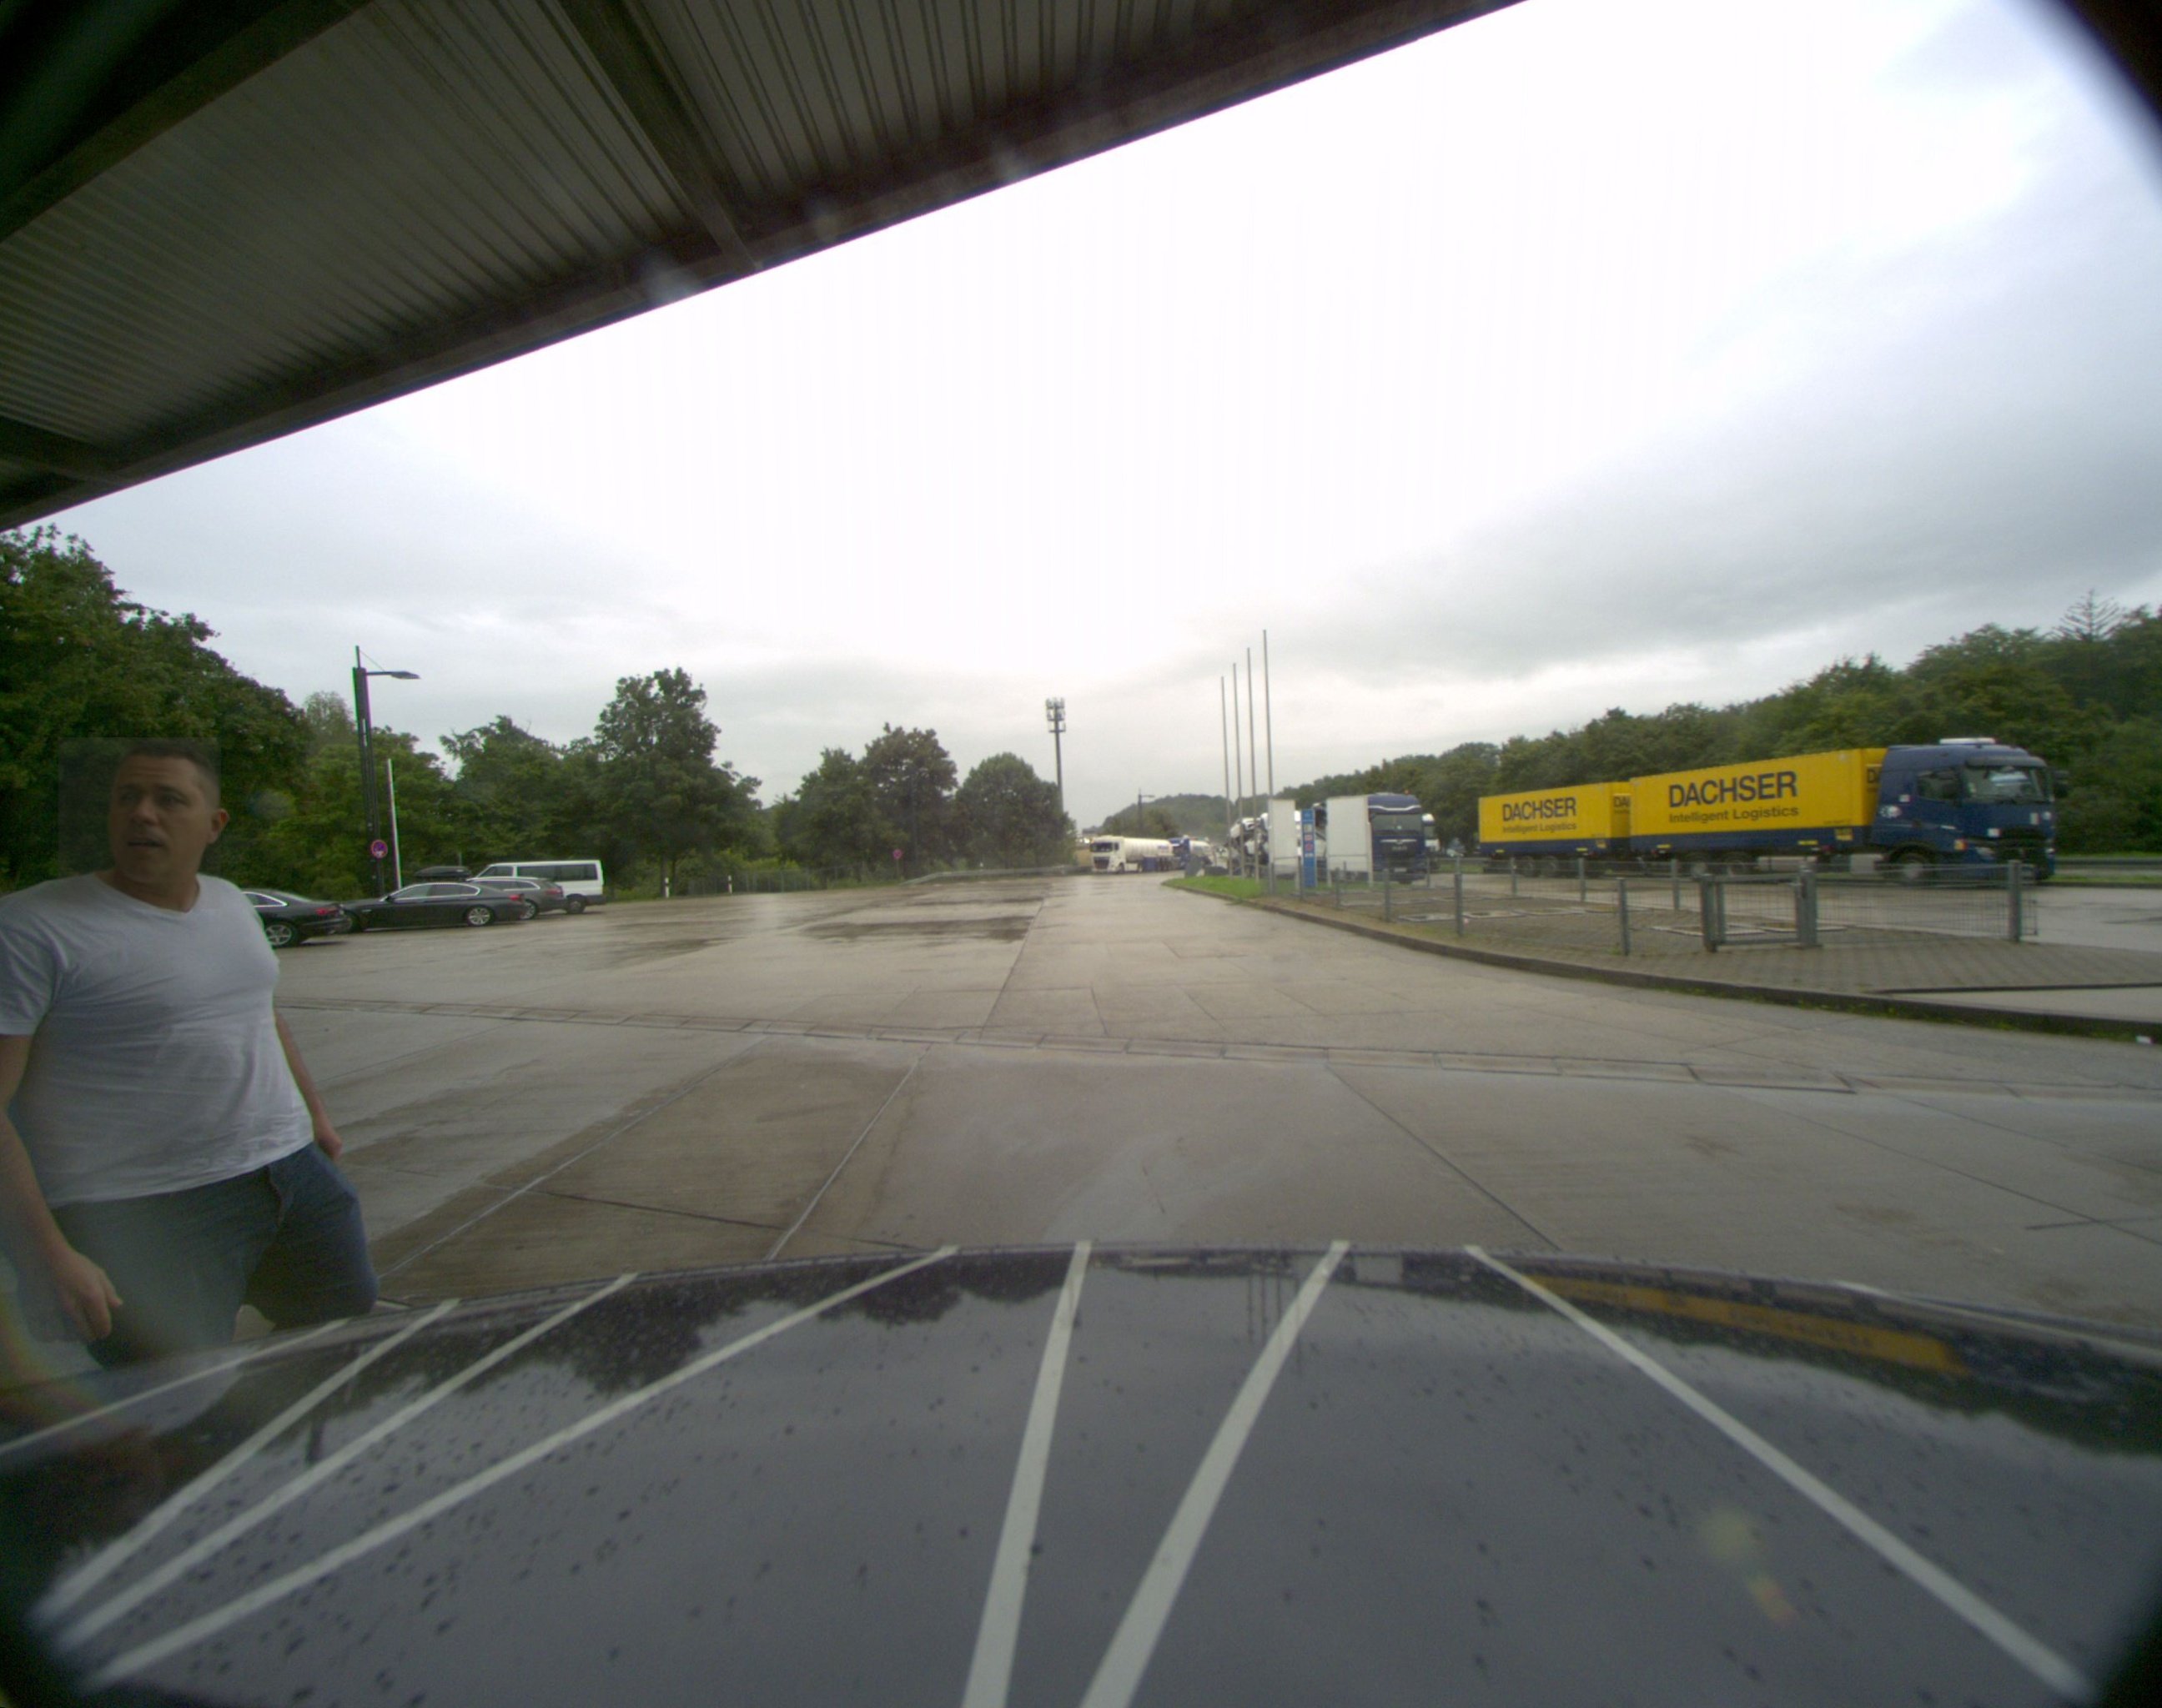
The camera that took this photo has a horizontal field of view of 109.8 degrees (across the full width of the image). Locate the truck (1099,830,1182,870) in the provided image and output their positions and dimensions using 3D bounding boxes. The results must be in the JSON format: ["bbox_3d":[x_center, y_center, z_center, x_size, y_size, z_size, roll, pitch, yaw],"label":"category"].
[{"bbox_3d":[6.192,-0.516,76.362,3.243,3.544,11.995,-2,1,31],"label":"truck"}]

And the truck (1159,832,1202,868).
[{"bbox_3d":[11.320,-0.517,85.746,3.045,3.745,6.475,-2,1,23],"label":"truck"}]

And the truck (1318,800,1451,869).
[{"bbox_3d":[19.751,-1.211,50.444,2.991,4.009,10.464,-2,1,-10],"label":"truck"}]

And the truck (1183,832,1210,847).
[{"bbox_3d":[30.520,-3.814,202.384,3.251,3.543,14.657,-2,0,-7],"label":"truck"}]

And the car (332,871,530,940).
[{"bbox_3d":[-19.130,1.448,22.654,4.187,1.720,1.995,-2,0,-33],"label":"car"}]

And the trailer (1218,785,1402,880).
[{"bbox_3d":[11.367,-0.992,40.951,2.990,4.009,16.597,-2,1,-7],"label":"trailer"}]

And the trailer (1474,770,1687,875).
[{"bbox_3d":[21.776,-1.266,34.004,2.774,4.009,8.853,-2,1,-8],"label":"trailer"}]

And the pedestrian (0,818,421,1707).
[{"bbox_3d":[-1.823,0.845,1.409,0.493,1.800,0.634,-2,2,10],"label":"pedestrian"}]

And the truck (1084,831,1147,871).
[{"bbox_3d":[3.308,-0.350,71.450,3.243,3.544,6.114,-2,1,31],"label":"truck"}]

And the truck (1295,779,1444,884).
[{"bbox_3d":[12.295,-0.916,33.260,2.990,4.009,7.259,-2,1,-7],"label":"truck"}]

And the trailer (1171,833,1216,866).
[{"bbox_3d":[13.660,-0.643,91.454,2.898,3.618,10.586,-2,1,22],"label":"trailer"}]

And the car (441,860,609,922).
[{"bbox_3d":[-20.272,1.280,27.925,4.780,1.974,2.010,-2,0,-36],"label":"car"}]

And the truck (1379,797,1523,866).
[{"bbox_3d":[24.354,-1.393,50.968,2.991,4.009,10.464,-2,1,-10],"label":"truck"}]

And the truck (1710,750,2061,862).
[{"bbox_3d":[33.768,-1.780,32.945,2.991,4.009,10.464,-2,1,-10],"label":"truck"}]

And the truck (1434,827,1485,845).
[{"bbox_3d":[69.208,-3.243,139.271,2.747,3.118,10.339,-2,1,-9],"label":"truck"}]

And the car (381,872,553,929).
[{"bbox_3d":[-20.028,1.463,25.060,4.187,1.547,1.995,-2,0,-33],"label":"car"}]

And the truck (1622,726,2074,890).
[{"bbox_3d":[23.053,-1.205,24.321,2.774,4.009,10.632,-2,1,-8],"label":"truck"}]
